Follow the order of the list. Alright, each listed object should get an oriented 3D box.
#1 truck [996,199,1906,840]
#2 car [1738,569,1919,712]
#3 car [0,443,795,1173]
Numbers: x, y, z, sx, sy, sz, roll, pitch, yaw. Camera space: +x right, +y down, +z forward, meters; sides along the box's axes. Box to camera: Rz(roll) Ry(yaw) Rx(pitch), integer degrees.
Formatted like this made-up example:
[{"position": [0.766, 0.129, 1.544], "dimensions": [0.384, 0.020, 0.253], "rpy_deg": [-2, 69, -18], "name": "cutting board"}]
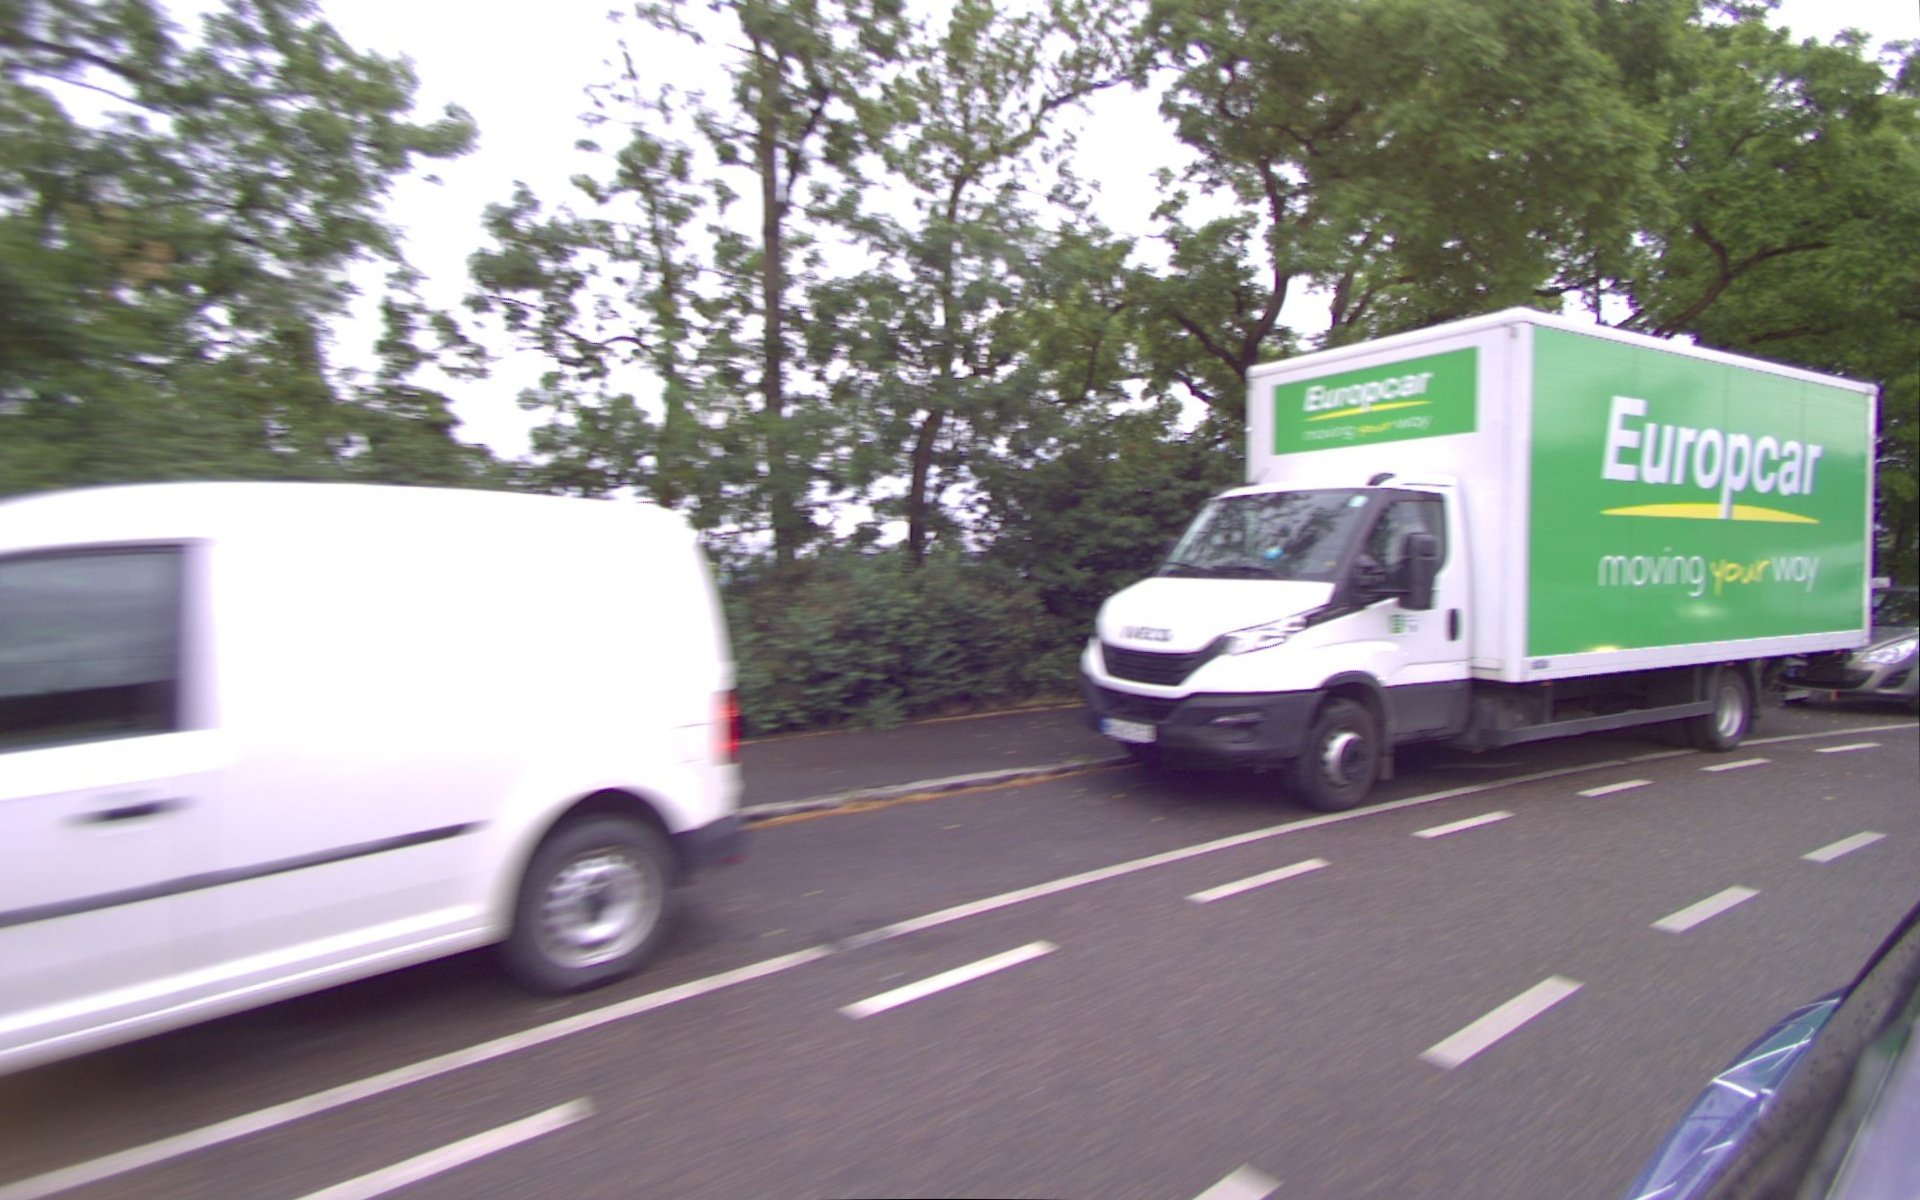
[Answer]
[{"position": [4.801, -0.490, 8.993], "dimensions": [8.755, 3.513, 2.787], "rpy_deg": [0, 3, -31], "name": "truck"}, {"position": [12.003, 0.450, 12.519], "dimensions": [4.048, 1.521, 1.744], "rpy_deg": [1, 2, -19], "name": "car"}, {"position": [-2.837, 0.472, 3.309], "dimensions": [1.860, 1.792, 4.312], "rpy_deg": [3, 3, 42], "name": "car"}]
